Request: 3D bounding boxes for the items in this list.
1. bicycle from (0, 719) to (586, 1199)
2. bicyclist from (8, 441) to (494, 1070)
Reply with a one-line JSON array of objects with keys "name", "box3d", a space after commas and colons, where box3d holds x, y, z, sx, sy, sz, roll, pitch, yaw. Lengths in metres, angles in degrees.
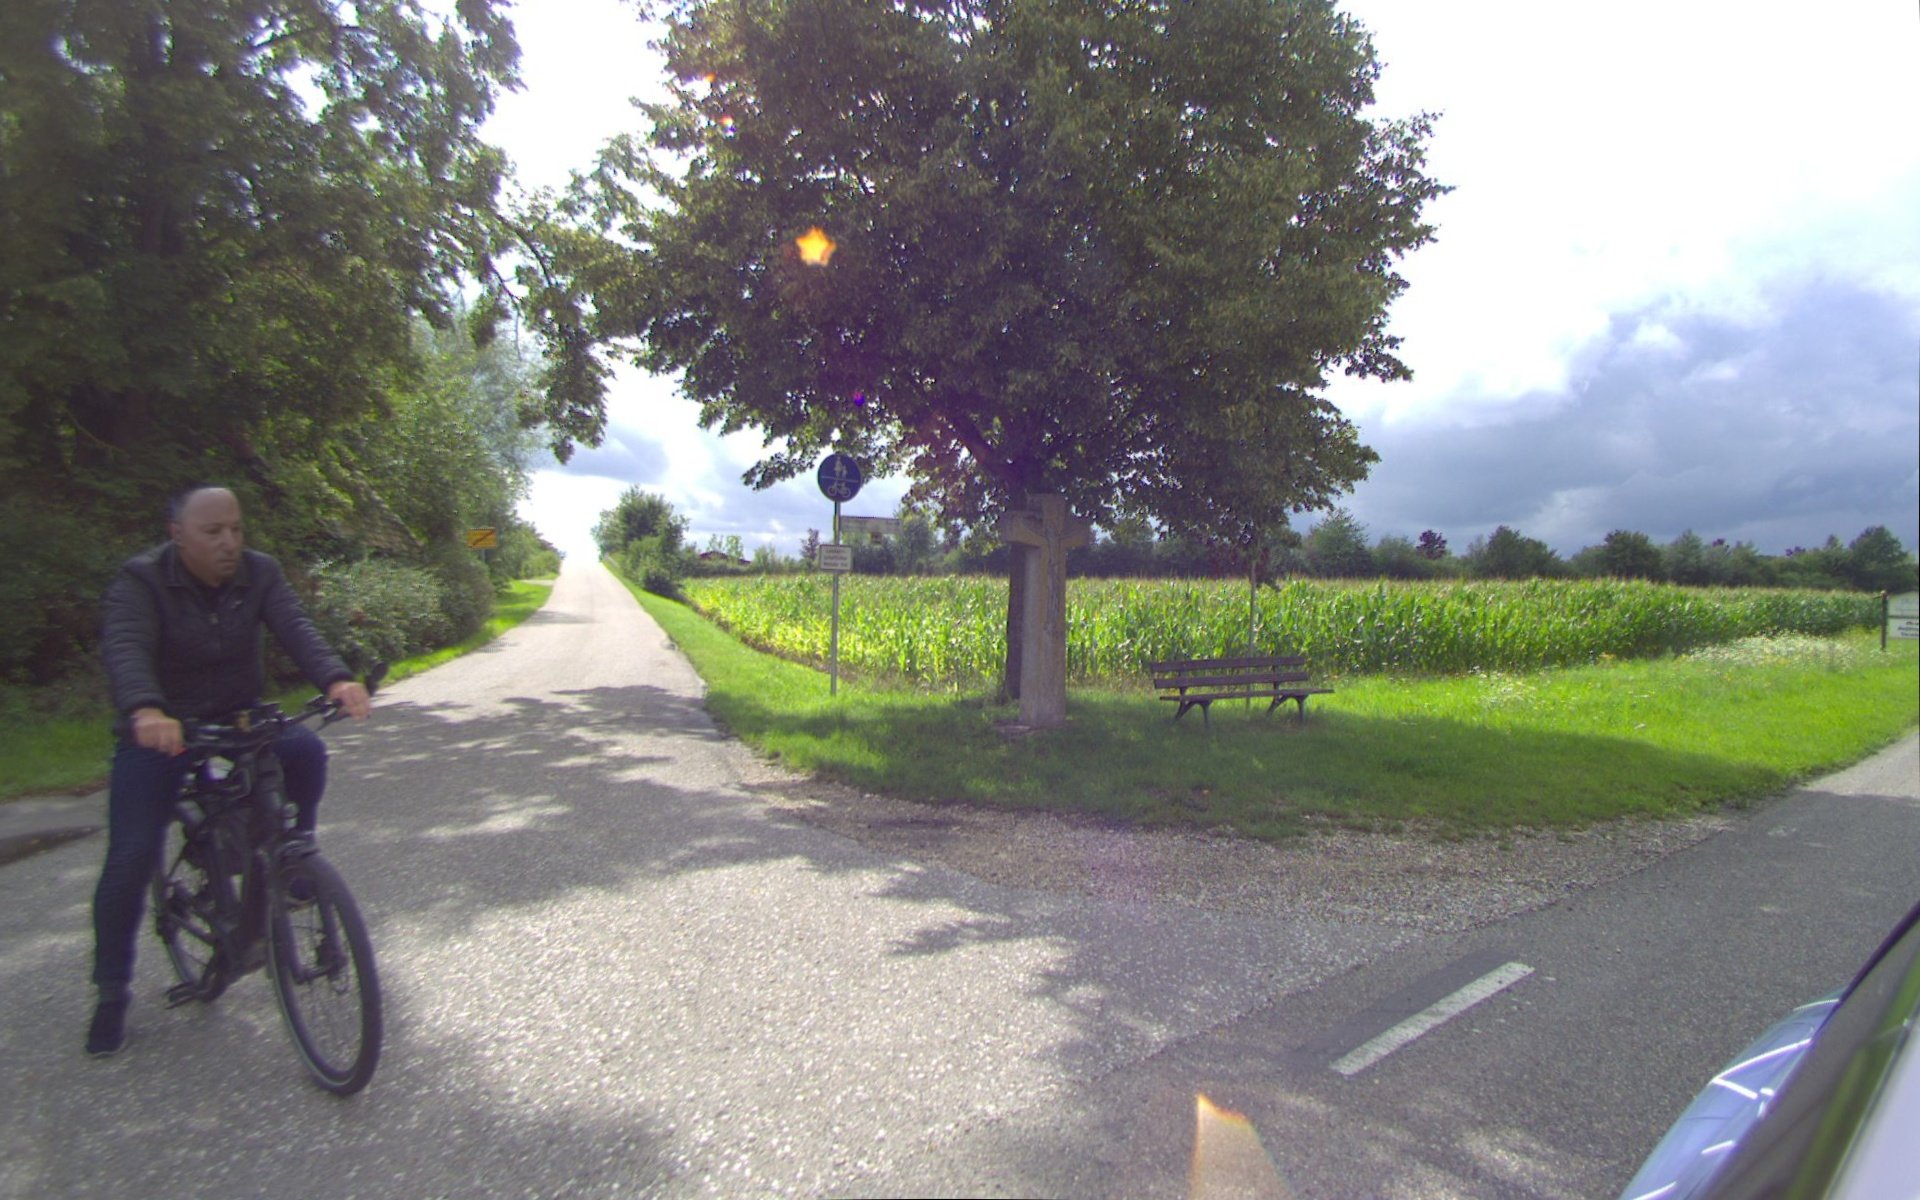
[{"name": "bicycle", "box3d": [-2.288, 0.957, 3.300, 2.110, 0.875, 1.040, 0, 0, 37]}, {"name": "bicyclist", "box3d": [-2.292, 0.397, 3.316, 1.014, 1.605, 1.040, -1, -1, 36]}]
